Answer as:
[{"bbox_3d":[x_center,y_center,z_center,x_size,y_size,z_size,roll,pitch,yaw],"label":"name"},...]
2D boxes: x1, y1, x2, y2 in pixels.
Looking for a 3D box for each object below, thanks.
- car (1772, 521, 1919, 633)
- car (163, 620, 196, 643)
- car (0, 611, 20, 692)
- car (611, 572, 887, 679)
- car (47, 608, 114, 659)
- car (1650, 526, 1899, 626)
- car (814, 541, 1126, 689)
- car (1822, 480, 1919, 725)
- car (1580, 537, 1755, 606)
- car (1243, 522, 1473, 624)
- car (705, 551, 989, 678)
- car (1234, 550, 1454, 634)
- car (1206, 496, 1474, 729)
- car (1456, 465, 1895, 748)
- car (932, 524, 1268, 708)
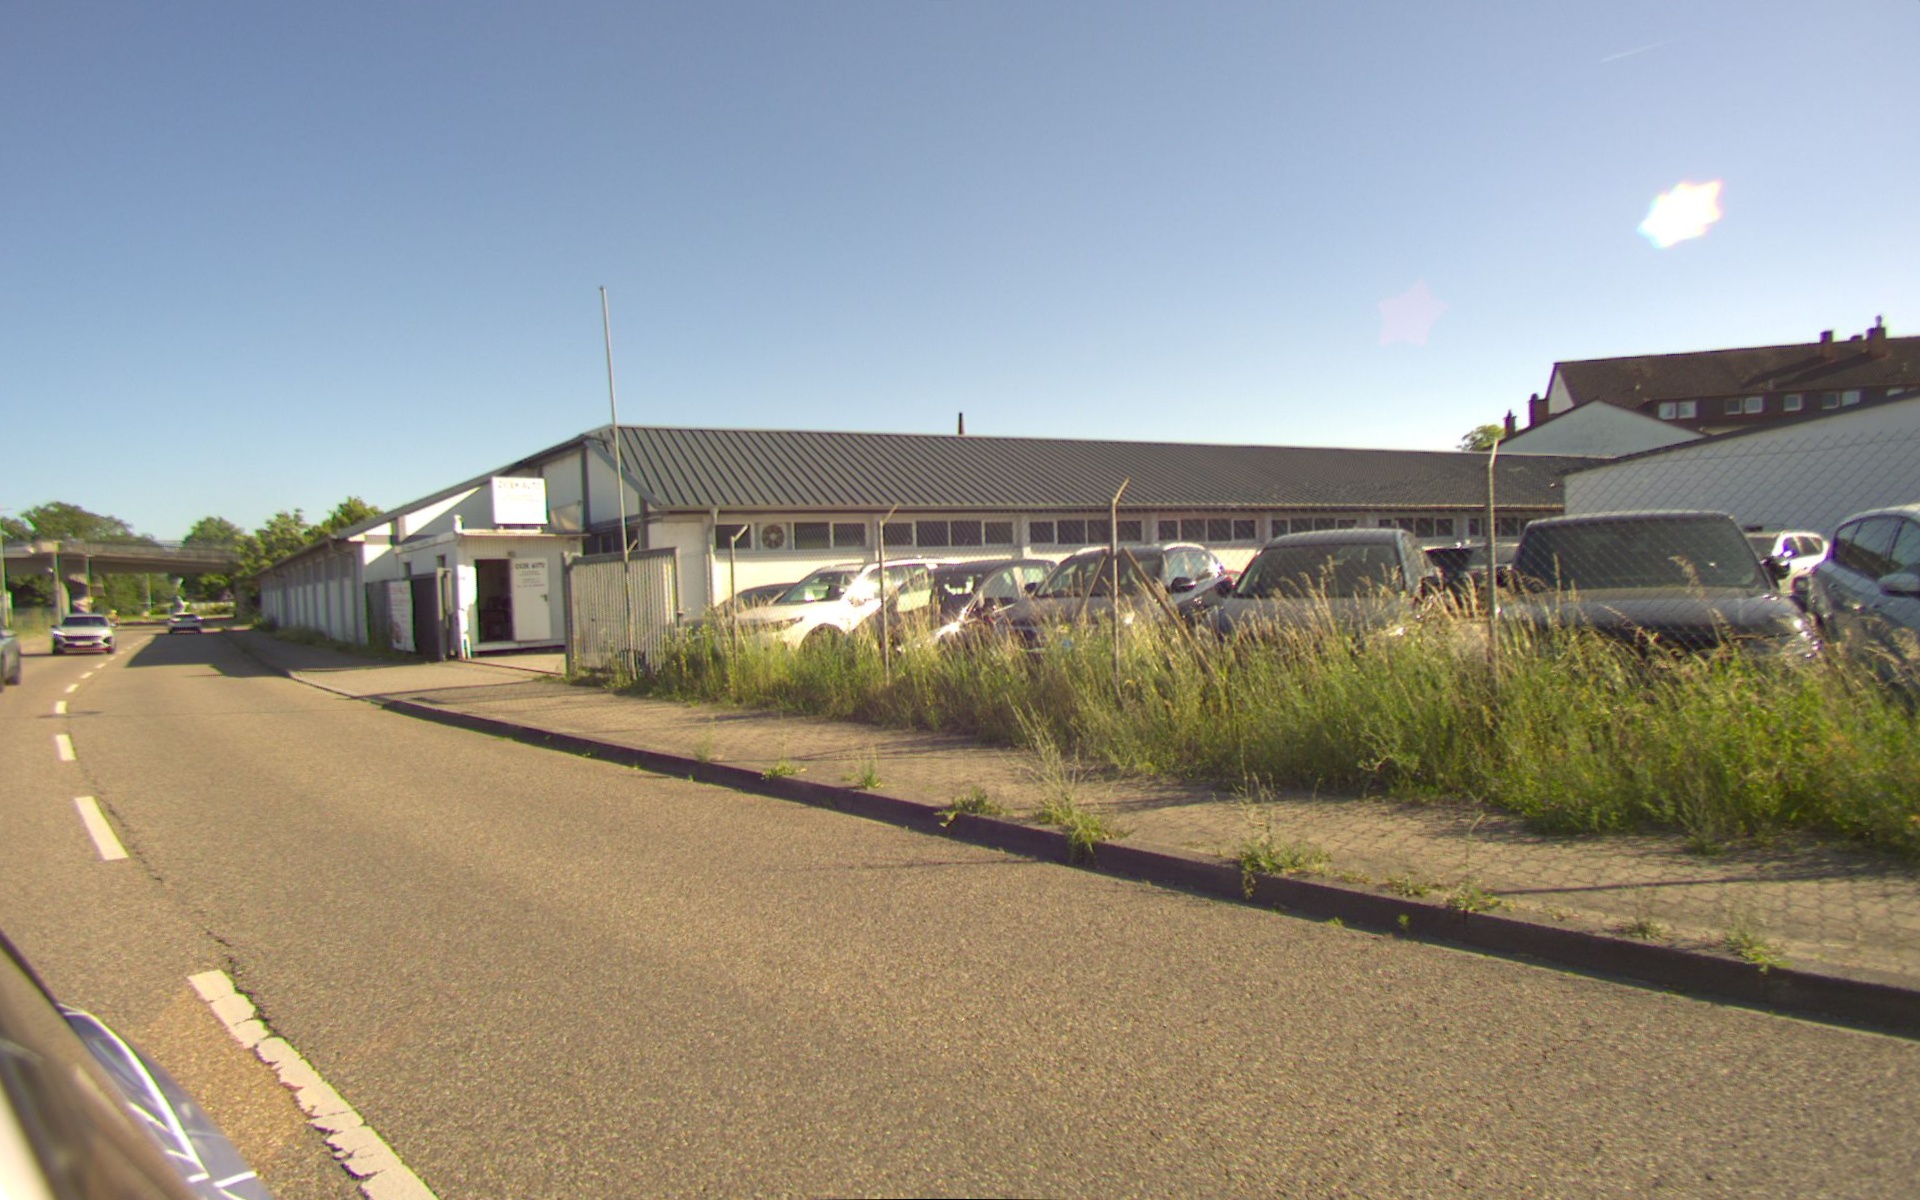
[{"bbox_3d":[15.770,-0.428,16.734,4.328,1.661,1.846,-3,1,-24],"label":"car"},{"bbox_3d":[-55.345,2.198,71.779,1.785,1.489,4.697,-1,0,-38],"label":"car"},{"bbox_3d":[-20.605,1.062,20.521,1.821,1.643,4.304,0,-1,-37],"label":"car"},{"bbox_3d":[-3.463,0.353,17.299,1.840,1.518,4.343,-1,1,42],"label":"car"},{"bbox_3d":[-34.099,1.259,39.331,1.854,1.838,4.302,-1,0,-40],"label":"car"},{"bbox_3d":[15.295,-0.473,18.993,4.328,1.661,1.846,-3,1,-24],"label":"car"},{"bbox_3d":[0.305,0.107,13.642,1.839,1.661,4.345,-1,1,40],"label":"car"},{"bbox_3d":[7.462,-0.011,6.711,1.833,1.661,4.360,-2,1,30],"label":"car"},{"bbox_3d":[18.905,-0.771,27.030,4.328,1.661,1.846,-3,1,-24],"label":"car"},{"bbox_3d":[10.424,-0.735,26.445,5.664,2.288,2.117,-4,2,-23],"label":"car"},{"bbox_3d":[-1.562,0.133,15.485,1.837,1.661,4.351,-2,1,36],"label":"car"},{"bbox_3d":[8.221,-0.204,21.653,4.328,1.574,1.846,-3,1,-24],"label":"car"},{"bbox_3d":[3.545,0.055,9.599,1.827,1.661,4.374,-2,1,20],"label":"car"},{"bbox_3d":[5.359,0.004,8.311,1.827,1.661,4.374,-2,1,20],"label":"car"},{"bbox_3d":[1.777,0.089,11.438,1.838,1.661,4.349,-1,1,37],"label":"car"}]
